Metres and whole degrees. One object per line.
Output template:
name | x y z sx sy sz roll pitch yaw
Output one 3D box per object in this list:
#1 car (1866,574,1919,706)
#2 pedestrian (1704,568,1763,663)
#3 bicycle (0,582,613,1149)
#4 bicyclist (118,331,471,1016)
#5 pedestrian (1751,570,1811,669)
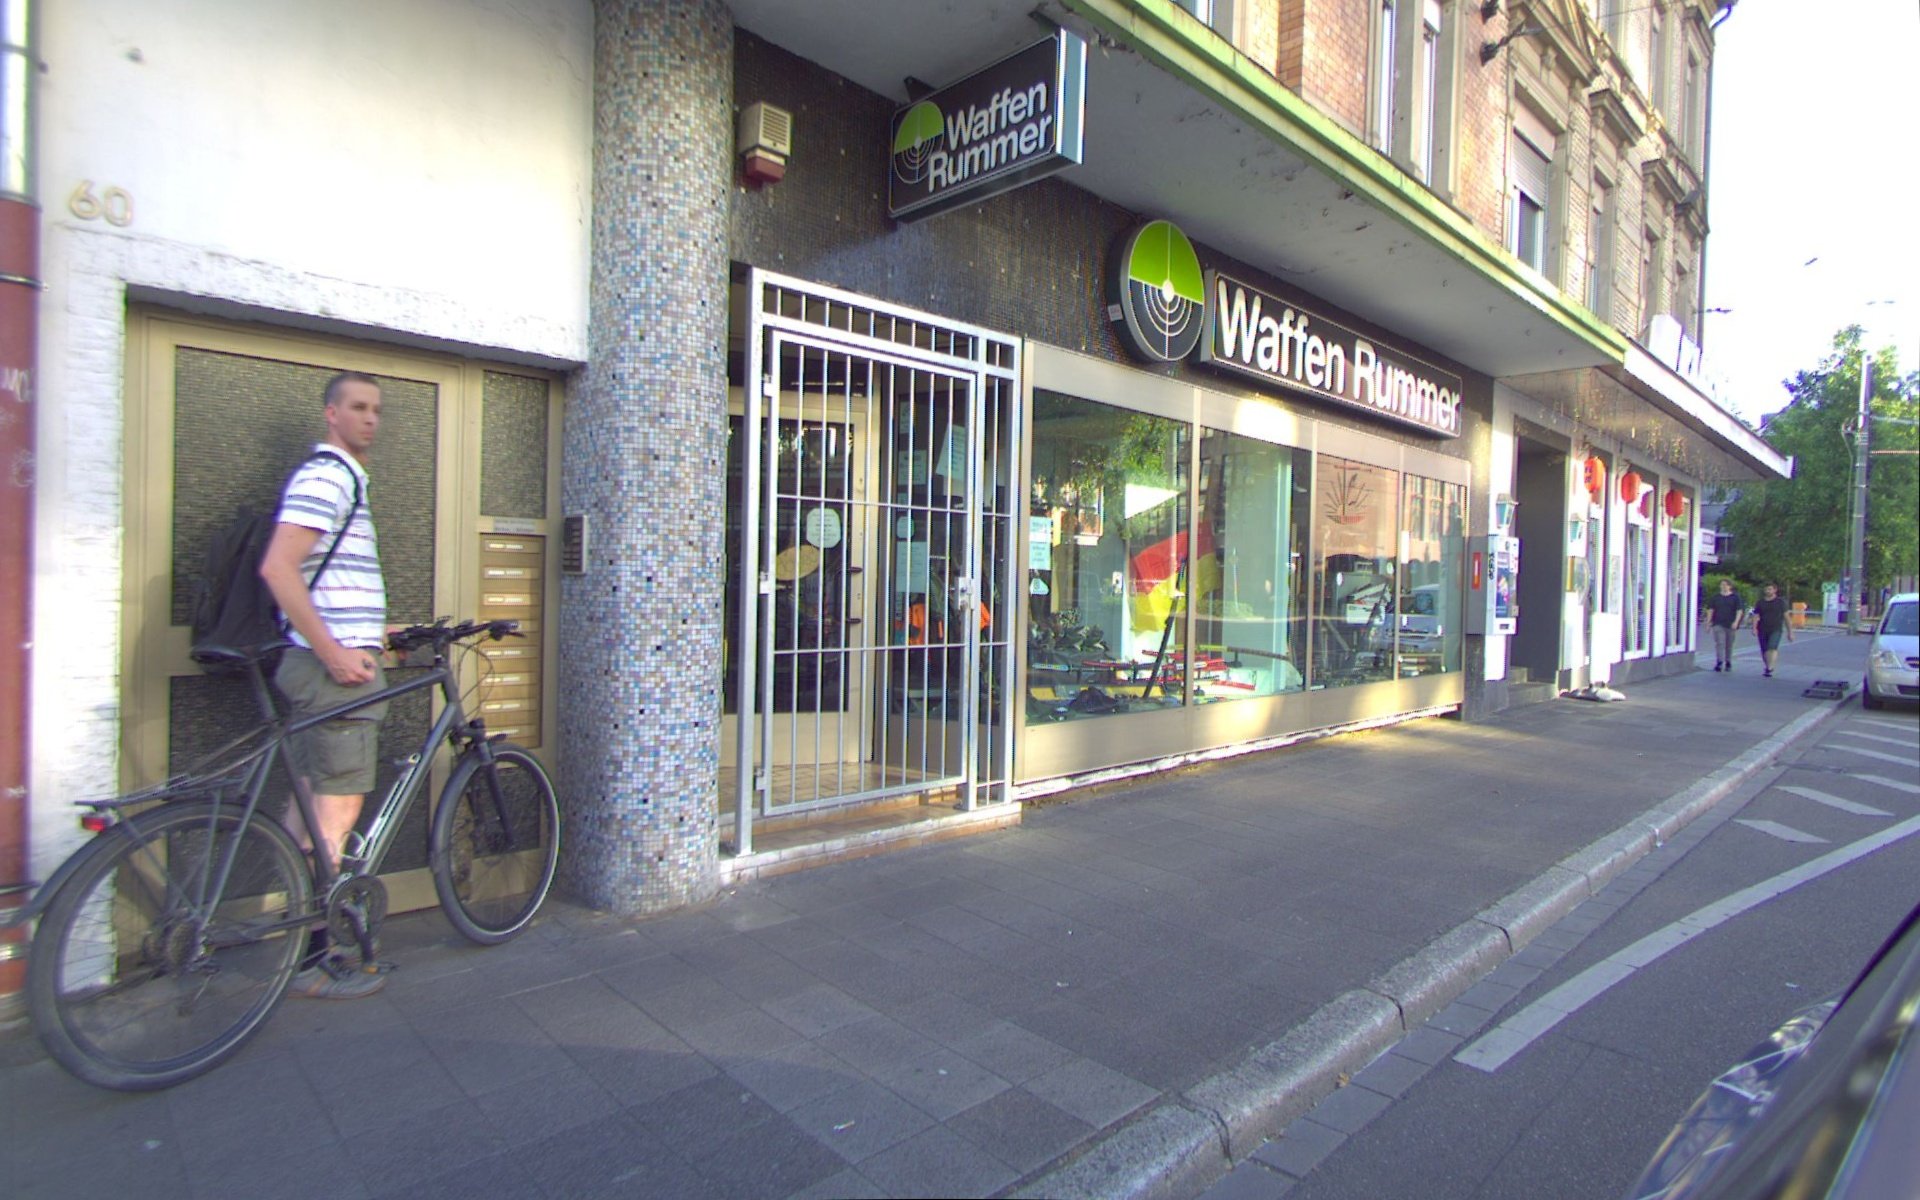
car | 14.087 0.521 14.112 3.930 1.705 1.670 0 1 -41
pedestrian | 14.747 0.279 19.292 0.669 1.744 0.700 0 3 -42
bicycle | -2.030 0.586 3.291 0.660 1.269 1.883 1 1 20
bicyclist | -2.110 0.194 3.268 0.592 1.905 0.739 1 1 20
pedestrian | 15.027 0.345 18.529 0.494 1.744 0.700 0 3 -42
